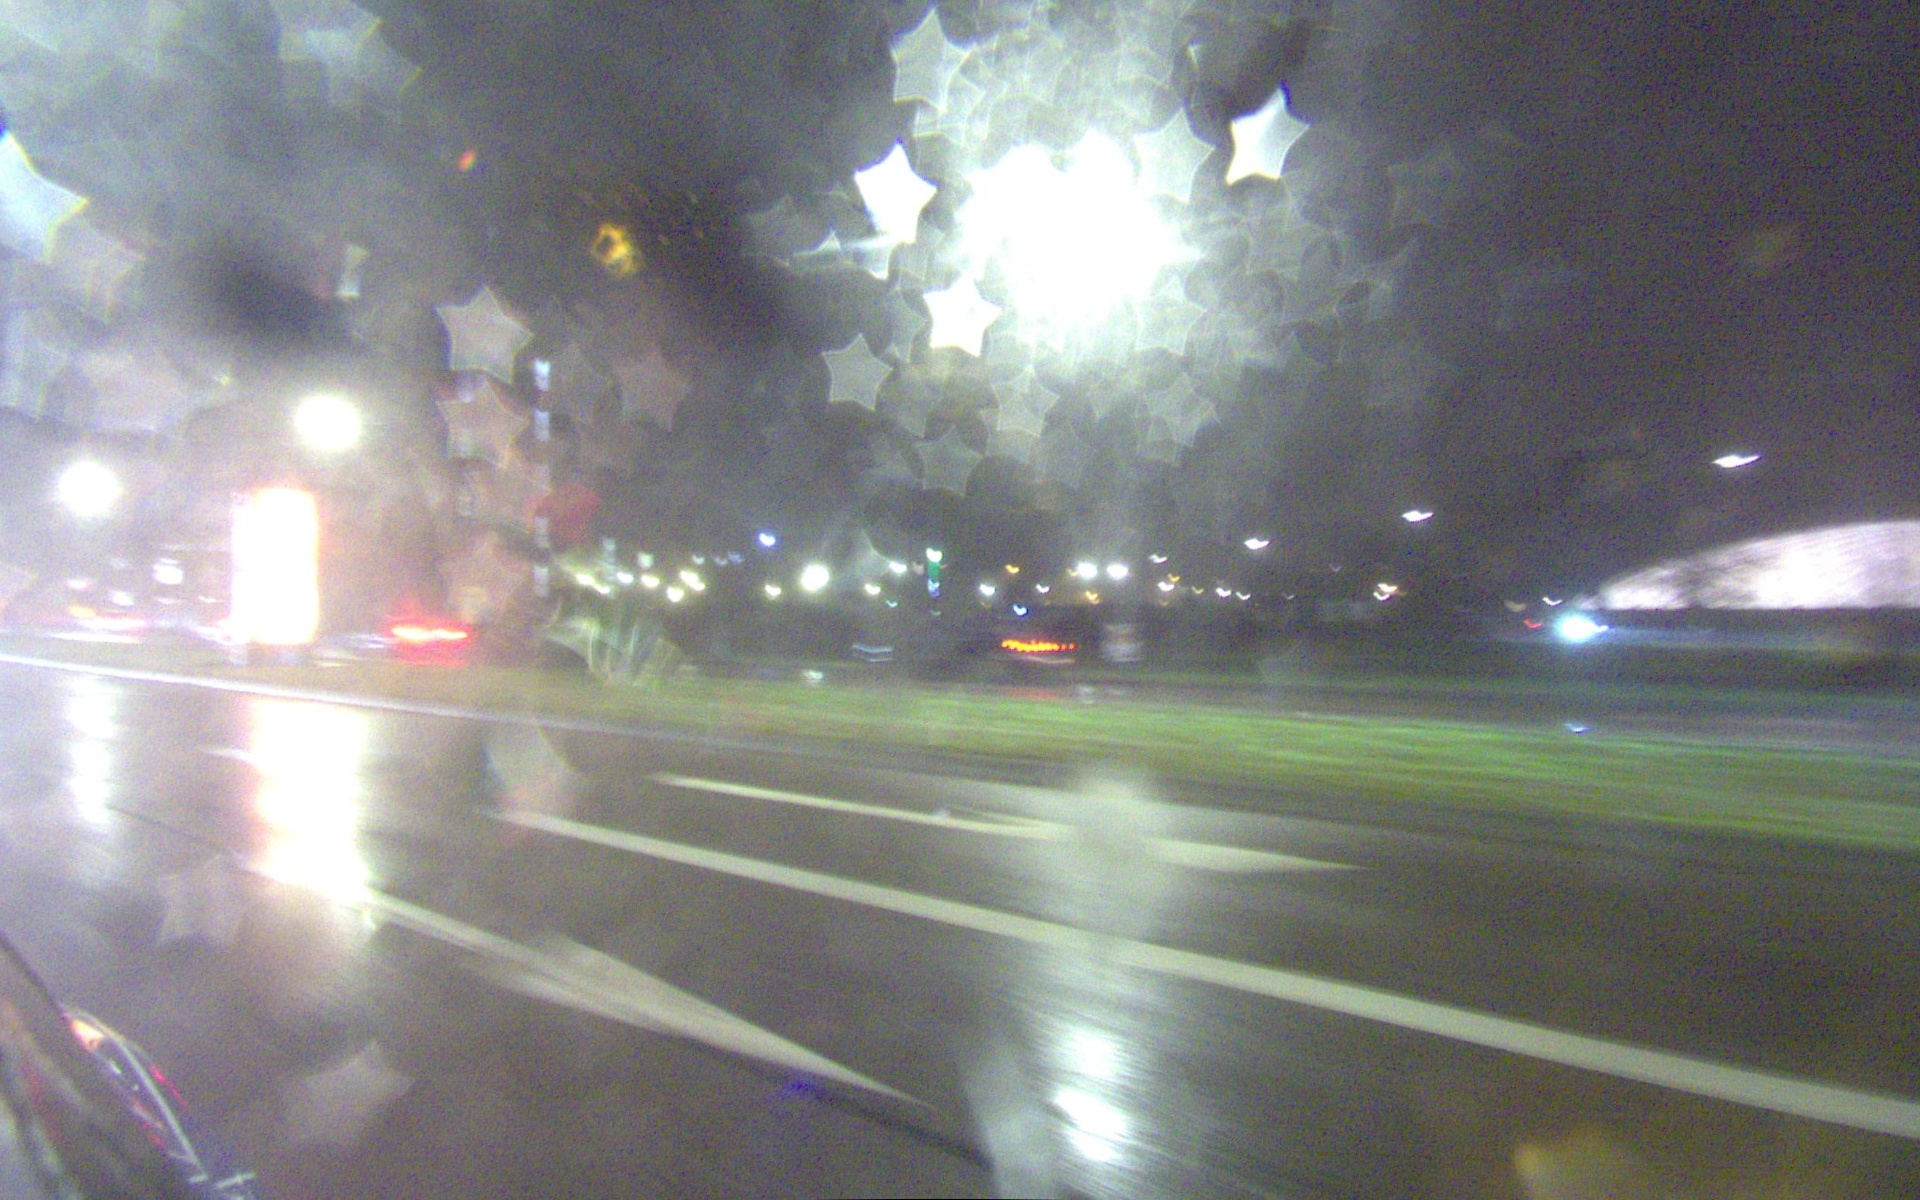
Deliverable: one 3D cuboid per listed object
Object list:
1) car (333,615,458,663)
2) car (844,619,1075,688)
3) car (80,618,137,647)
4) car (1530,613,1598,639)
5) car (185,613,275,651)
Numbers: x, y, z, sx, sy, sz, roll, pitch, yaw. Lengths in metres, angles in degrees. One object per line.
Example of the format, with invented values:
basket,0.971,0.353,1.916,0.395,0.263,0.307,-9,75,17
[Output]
car,-18.999,1.285,33.995,4.648,1.475,1.813,-1,0,35
car,-0.103,1.204,23.974,5.338,1.413,1.976,-1,0,35
car,-53.591,2.039,63.671,4.432,1.726,1.812,-1,0,37
car,38.976,1.657,65.381,1.653,1.541,4.006,-1,0,-6
car,-30.493,1.322,42.246,3.990,1.475,1.814,-1,0,34
